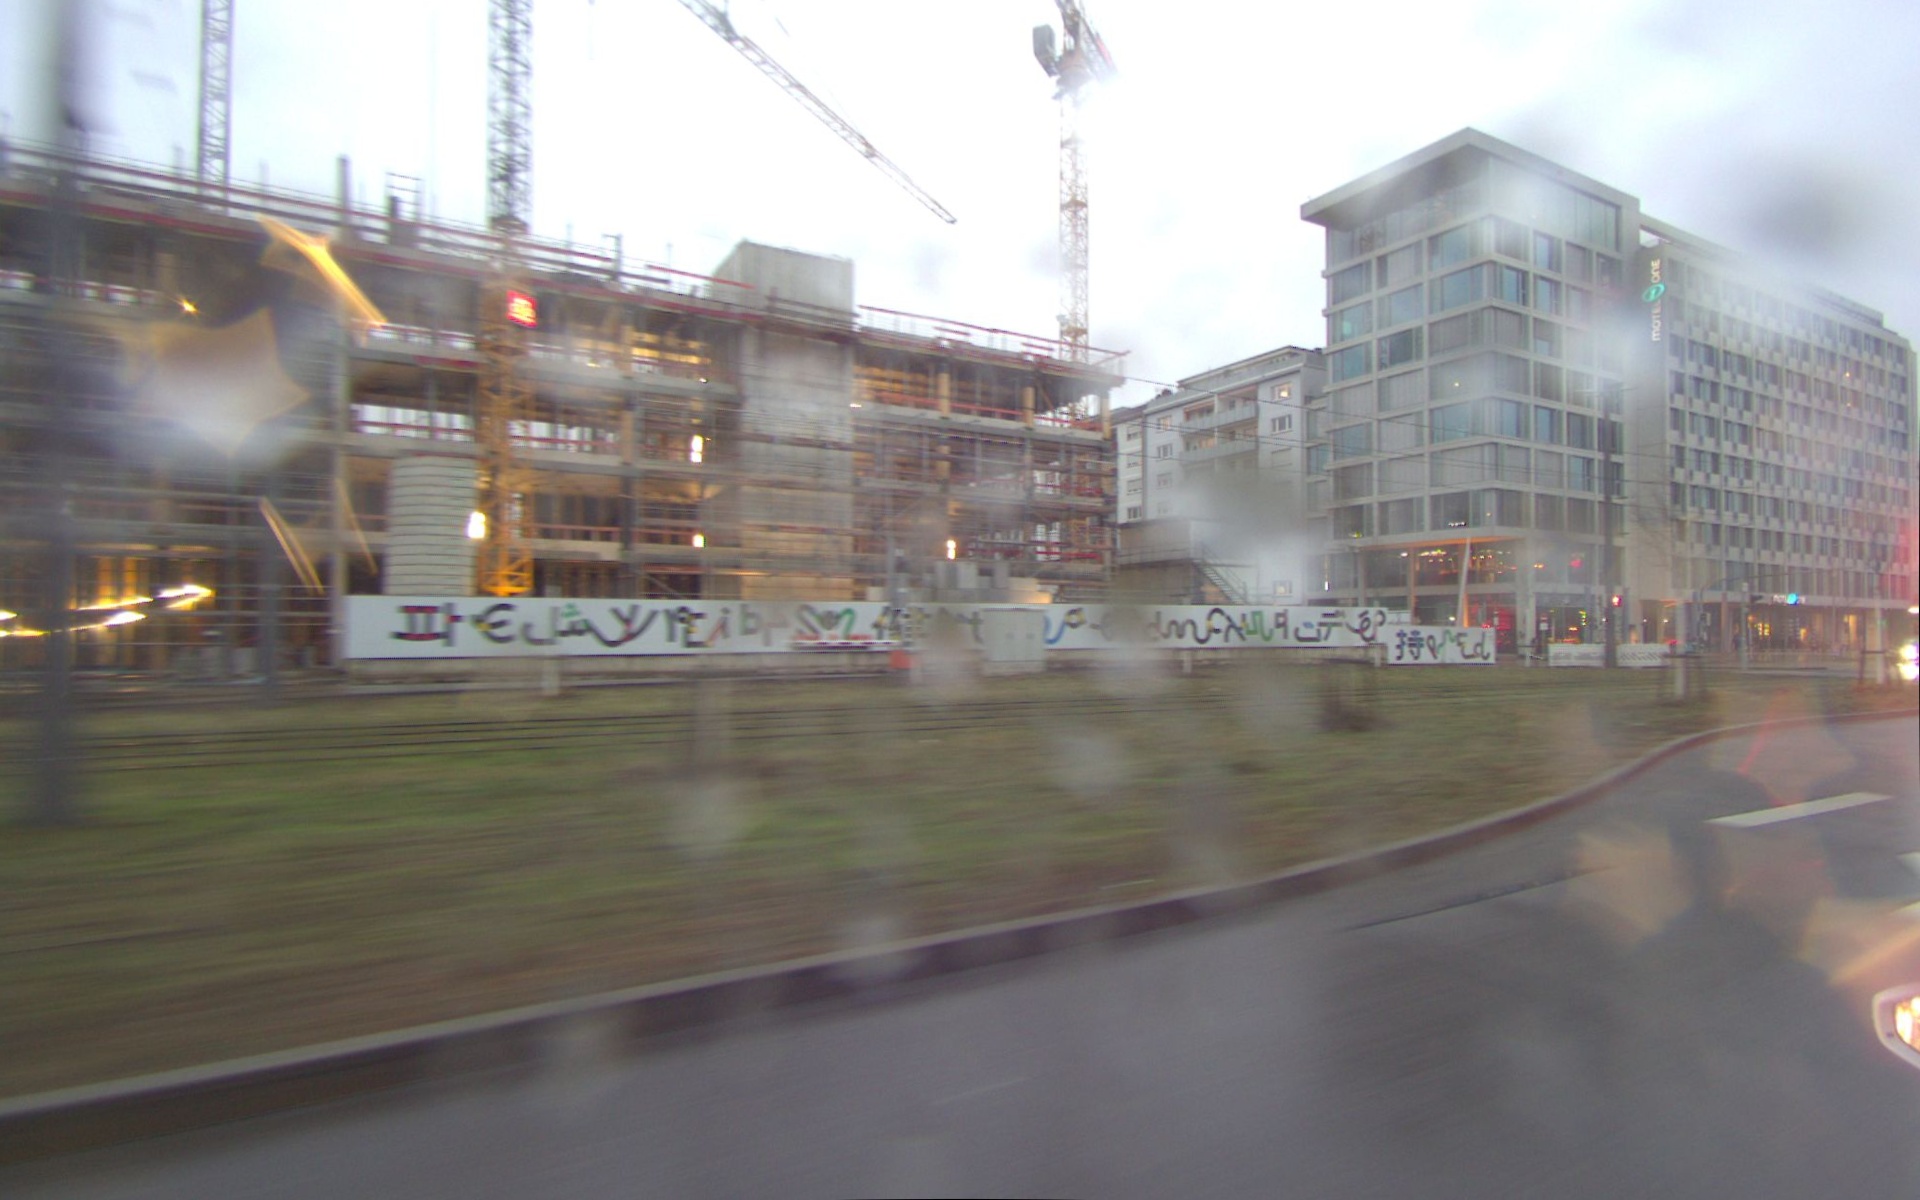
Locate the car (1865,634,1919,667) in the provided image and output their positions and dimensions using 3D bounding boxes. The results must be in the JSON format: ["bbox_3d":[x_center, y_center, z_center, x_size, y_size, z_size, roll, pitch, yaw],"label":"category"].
[{"bbox_3d":[47.277,2.499,50.090,1.709,1.512,3.545,1,-1,13],"label":"car"}]

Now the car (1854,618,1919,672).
[{"bbox_3d":[36.799,1.727,38.349,3.942,2.001,1.990,0,-1,42],"label":"car"}]
